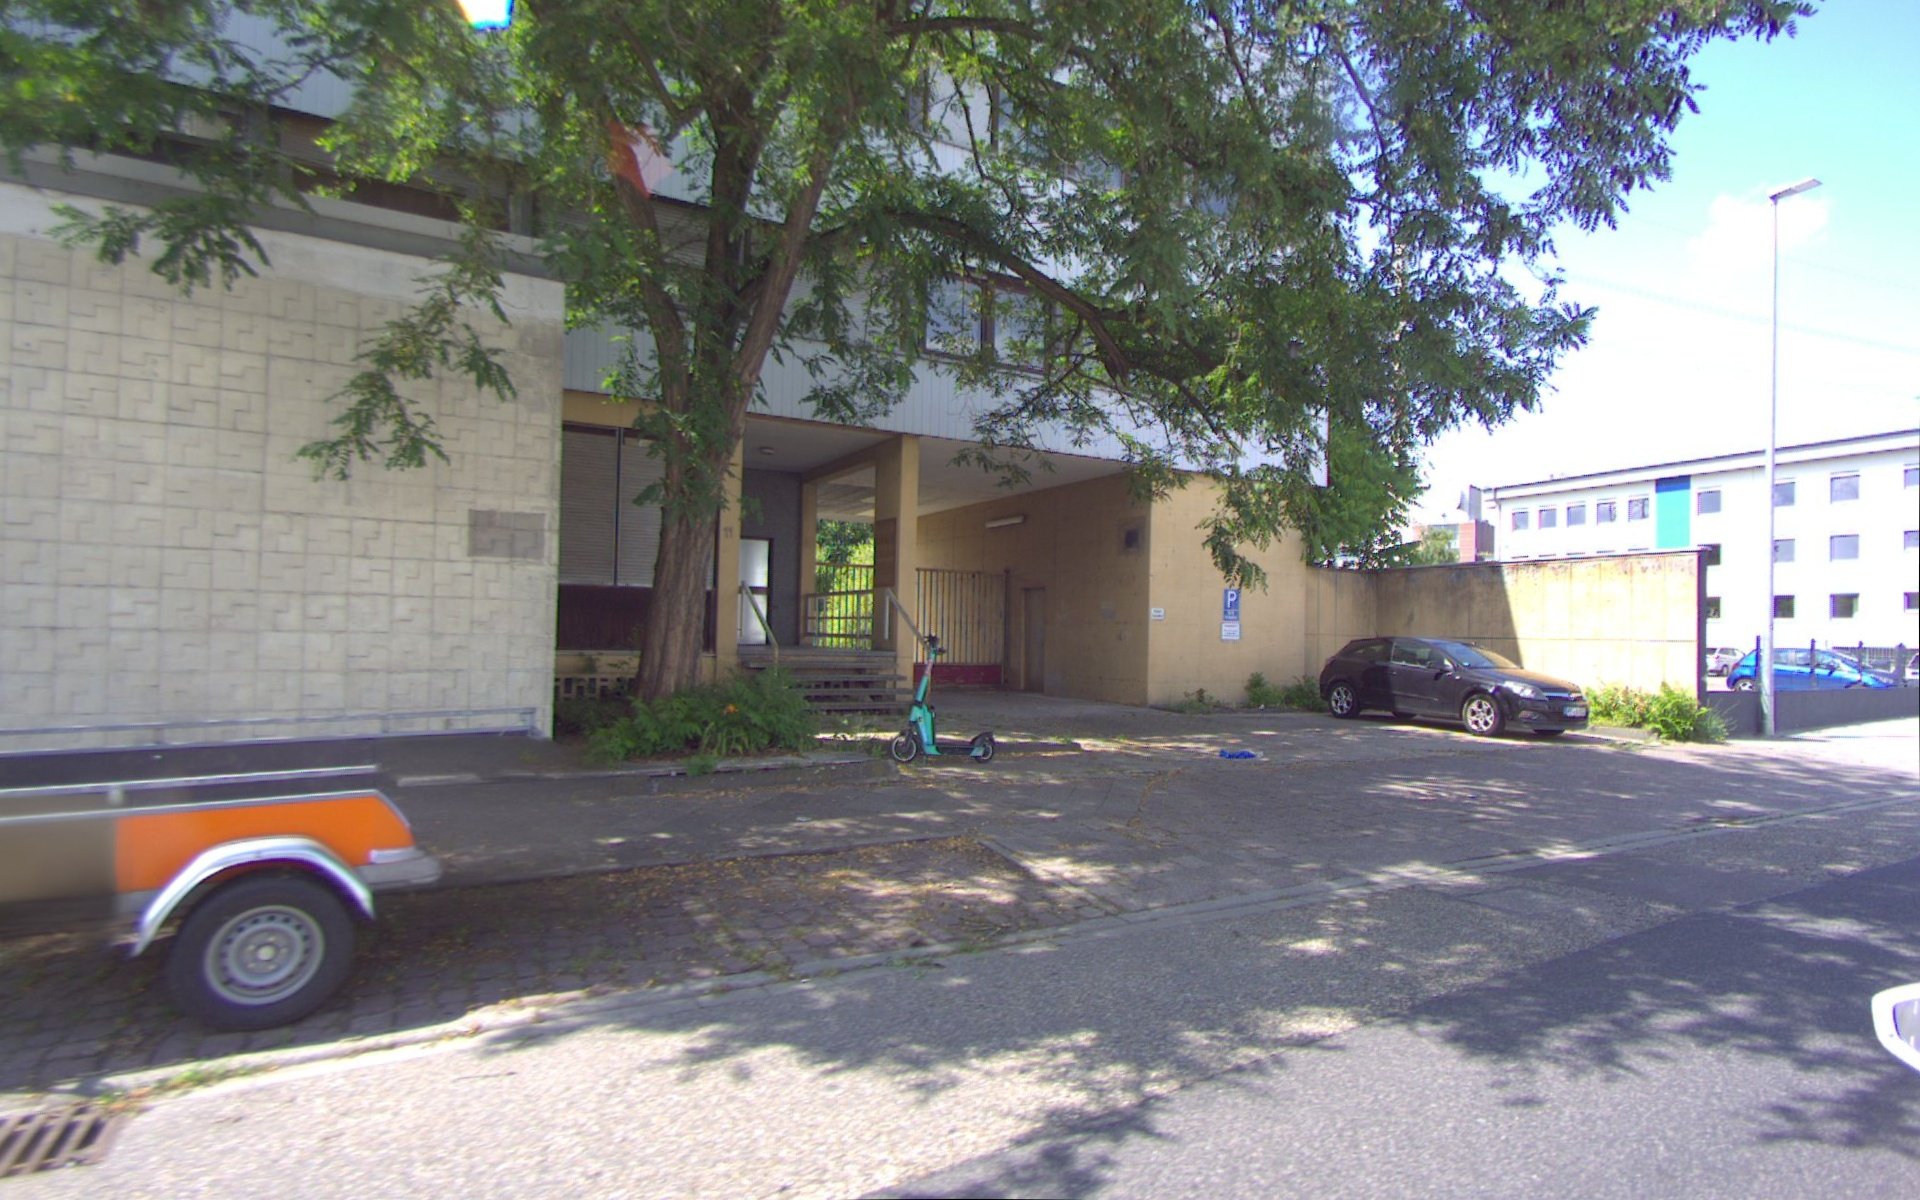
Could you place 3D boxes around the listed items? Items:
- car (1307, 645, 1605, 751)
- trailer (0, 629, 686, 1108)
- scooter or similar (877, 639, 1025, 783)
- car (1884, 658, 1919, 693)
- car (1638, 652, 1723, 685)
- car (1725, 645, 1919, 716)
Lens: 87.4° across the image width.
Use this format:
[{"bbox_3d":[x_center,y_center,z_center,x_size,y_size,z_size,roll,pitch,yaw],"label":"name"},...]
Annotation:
[{"bbox_3d":[7.609,1.446,15.812,1.771,1.380,3.980,3,-3,-26],"label":"car"},{"bbox_3d":[-3.492,0.900,4.037,4.285,1.458,1.758,3,0,-30],"label":"trailer"},{"bbox_3d":[-0.079,1.059,9.791,1.345,1.296,0.480,2,0,-30],"label":"scooter or similar"},{"bbox_3d":[44.087,3.432,45.563,3.706,1.526,1.868,2,-2,-24],"label":"car"},{"bbox_3d":[38.654,3.672,53.908,4.385,1.676,1.819,2,-3,-25],"label":"car"},{"bbox_3d":[23.412,2.144,27.421,1.857,1.730,3.631,2,-3,-30],"label":"car"}]
